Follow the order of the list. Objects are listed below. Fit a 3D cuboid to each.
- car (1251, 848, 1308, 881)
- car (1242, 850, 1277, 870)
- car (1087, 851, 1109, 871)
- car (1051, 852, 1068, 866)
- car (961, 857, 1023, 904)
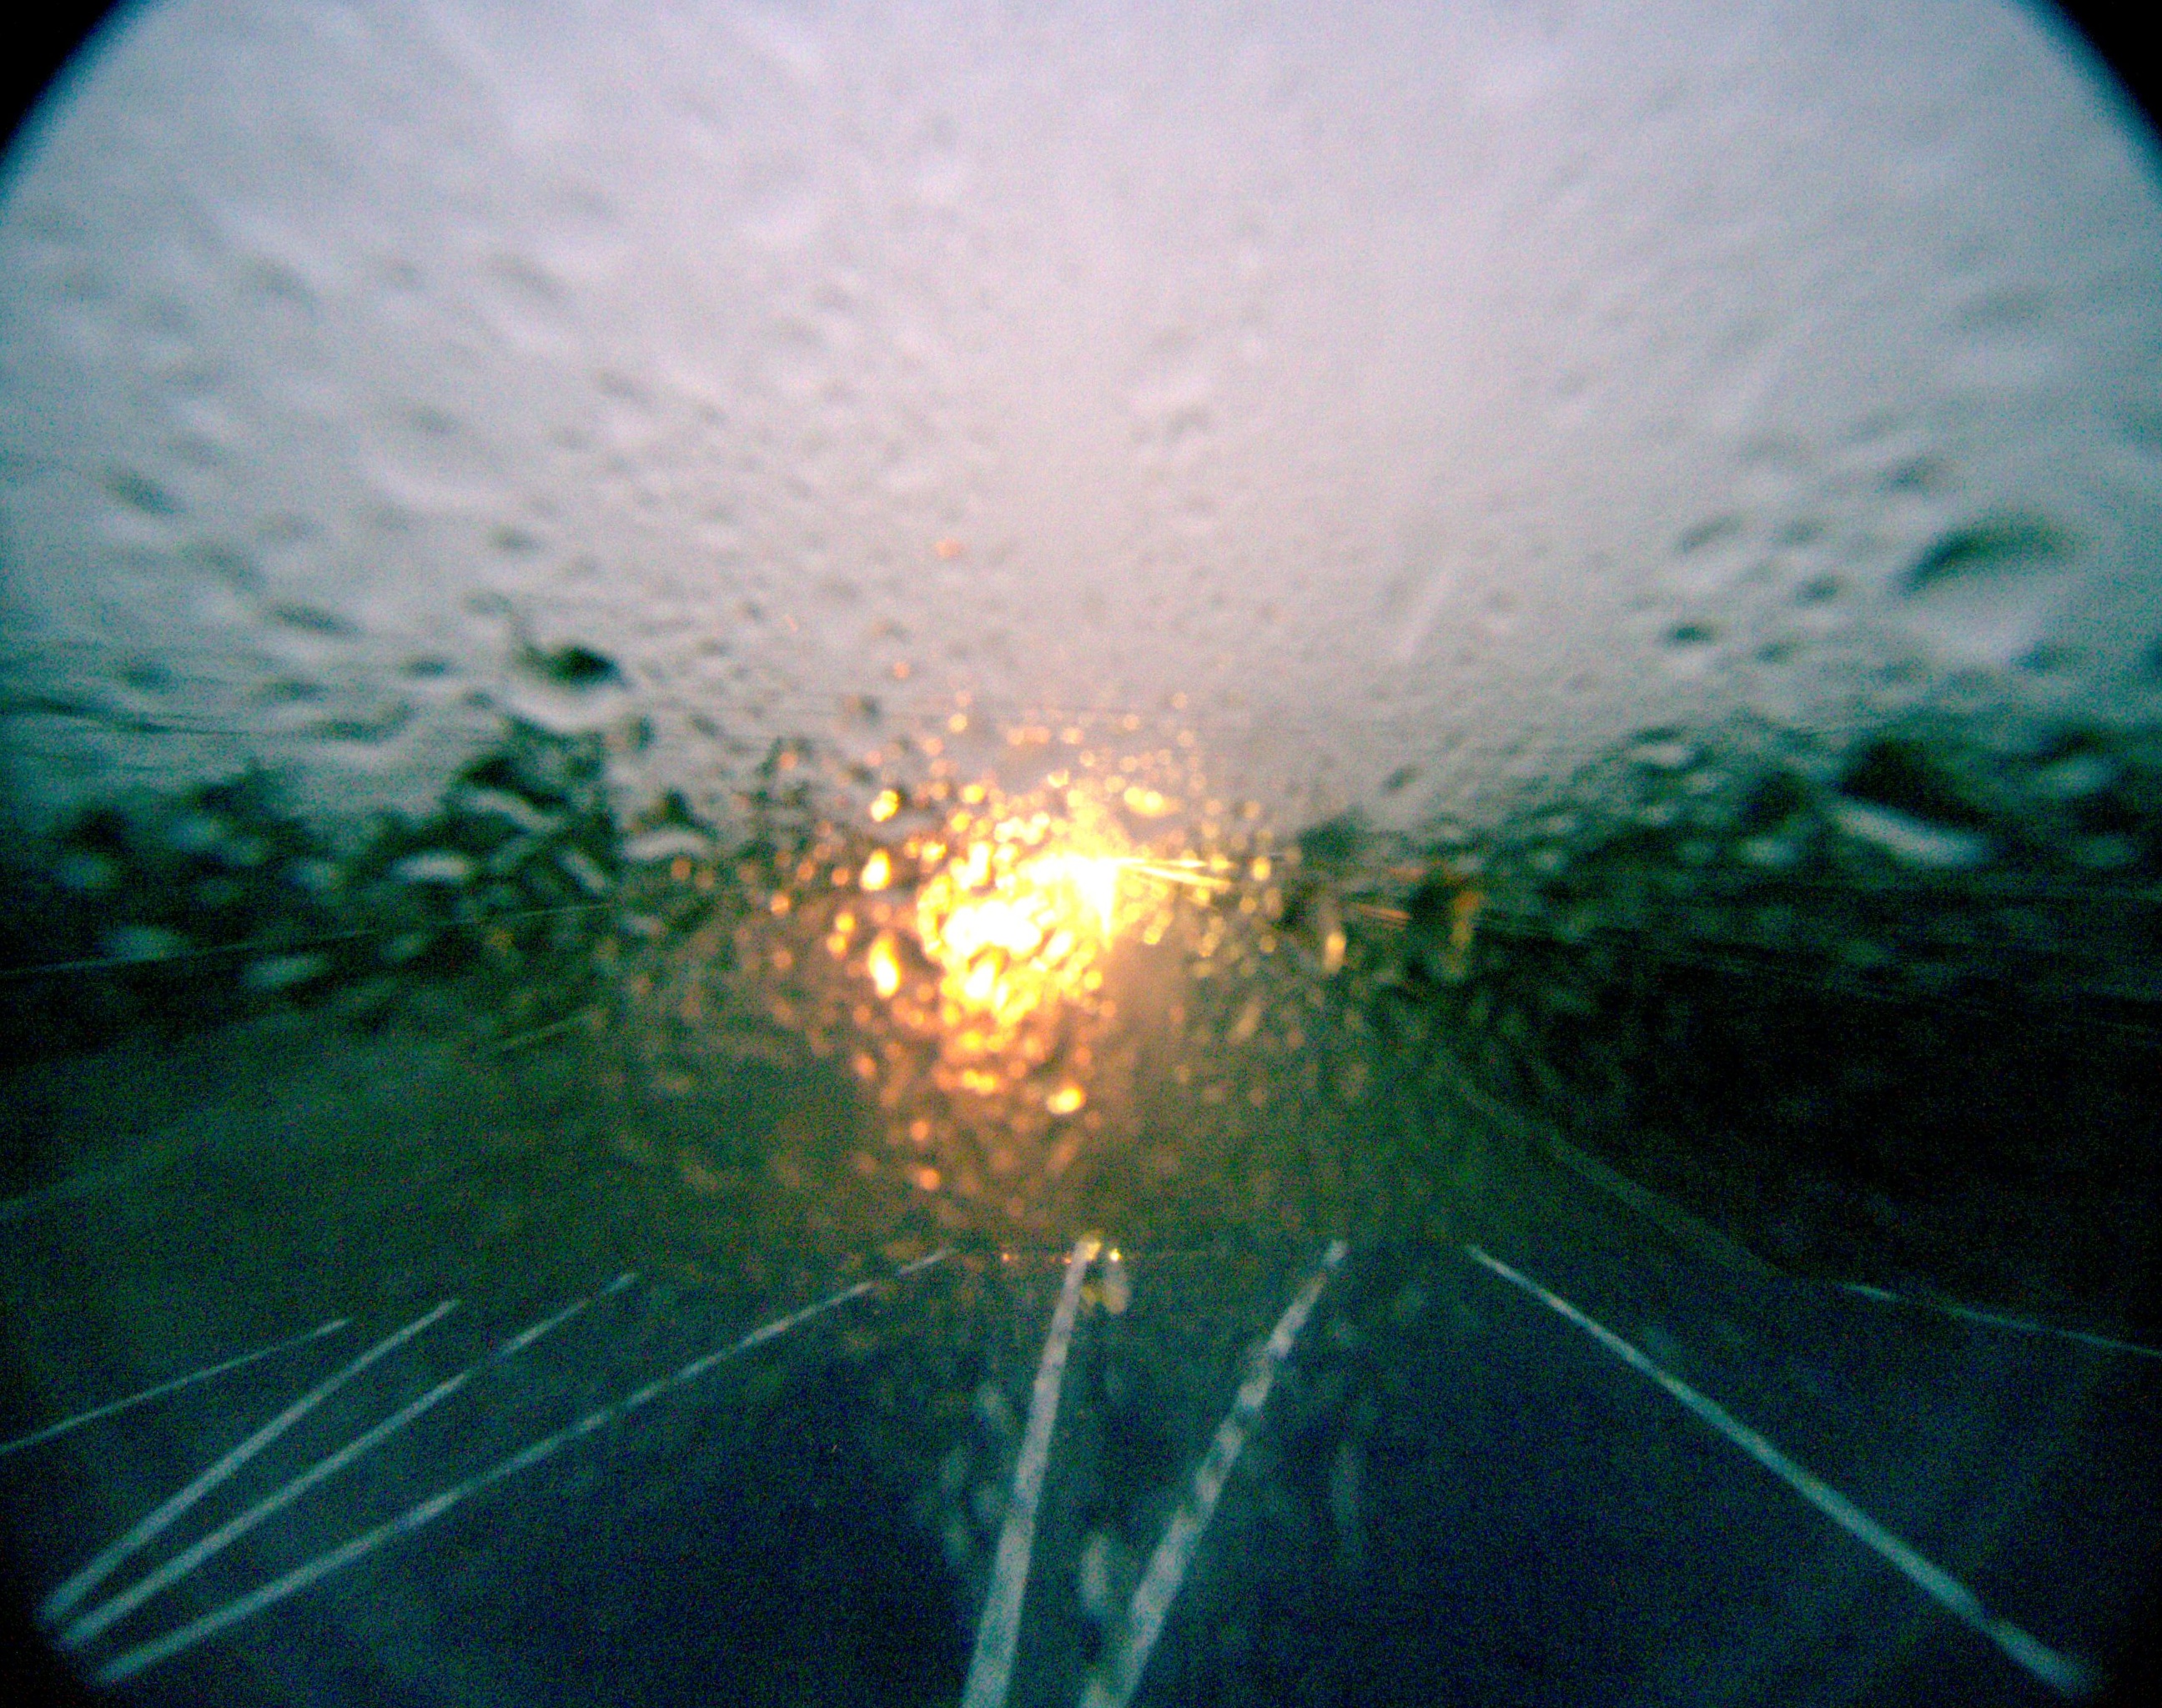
[{"bbox_3d":[8.610,0.420,33.232,1.543,1.331,3.718,-1,0,1],"label":"car"},{"bbox_3d":[12.267,0.376,52.312,1.543,1.331,3.718,-1,0,1],"label":"car"},{"bbox_3d":[1.317,0.508,58.990,1.631,1.466,4.000,-1,0,1],"label":"car"},{"bbox_3d":[-2.316,0.485,81.549,1.631,1.466,4.000,-1,0,1],"label":"car"},{"bbox_3d":[-3.066,0.865,26.811,1.631,1.466,4.000,-1,0,1],"label":"car"}]
